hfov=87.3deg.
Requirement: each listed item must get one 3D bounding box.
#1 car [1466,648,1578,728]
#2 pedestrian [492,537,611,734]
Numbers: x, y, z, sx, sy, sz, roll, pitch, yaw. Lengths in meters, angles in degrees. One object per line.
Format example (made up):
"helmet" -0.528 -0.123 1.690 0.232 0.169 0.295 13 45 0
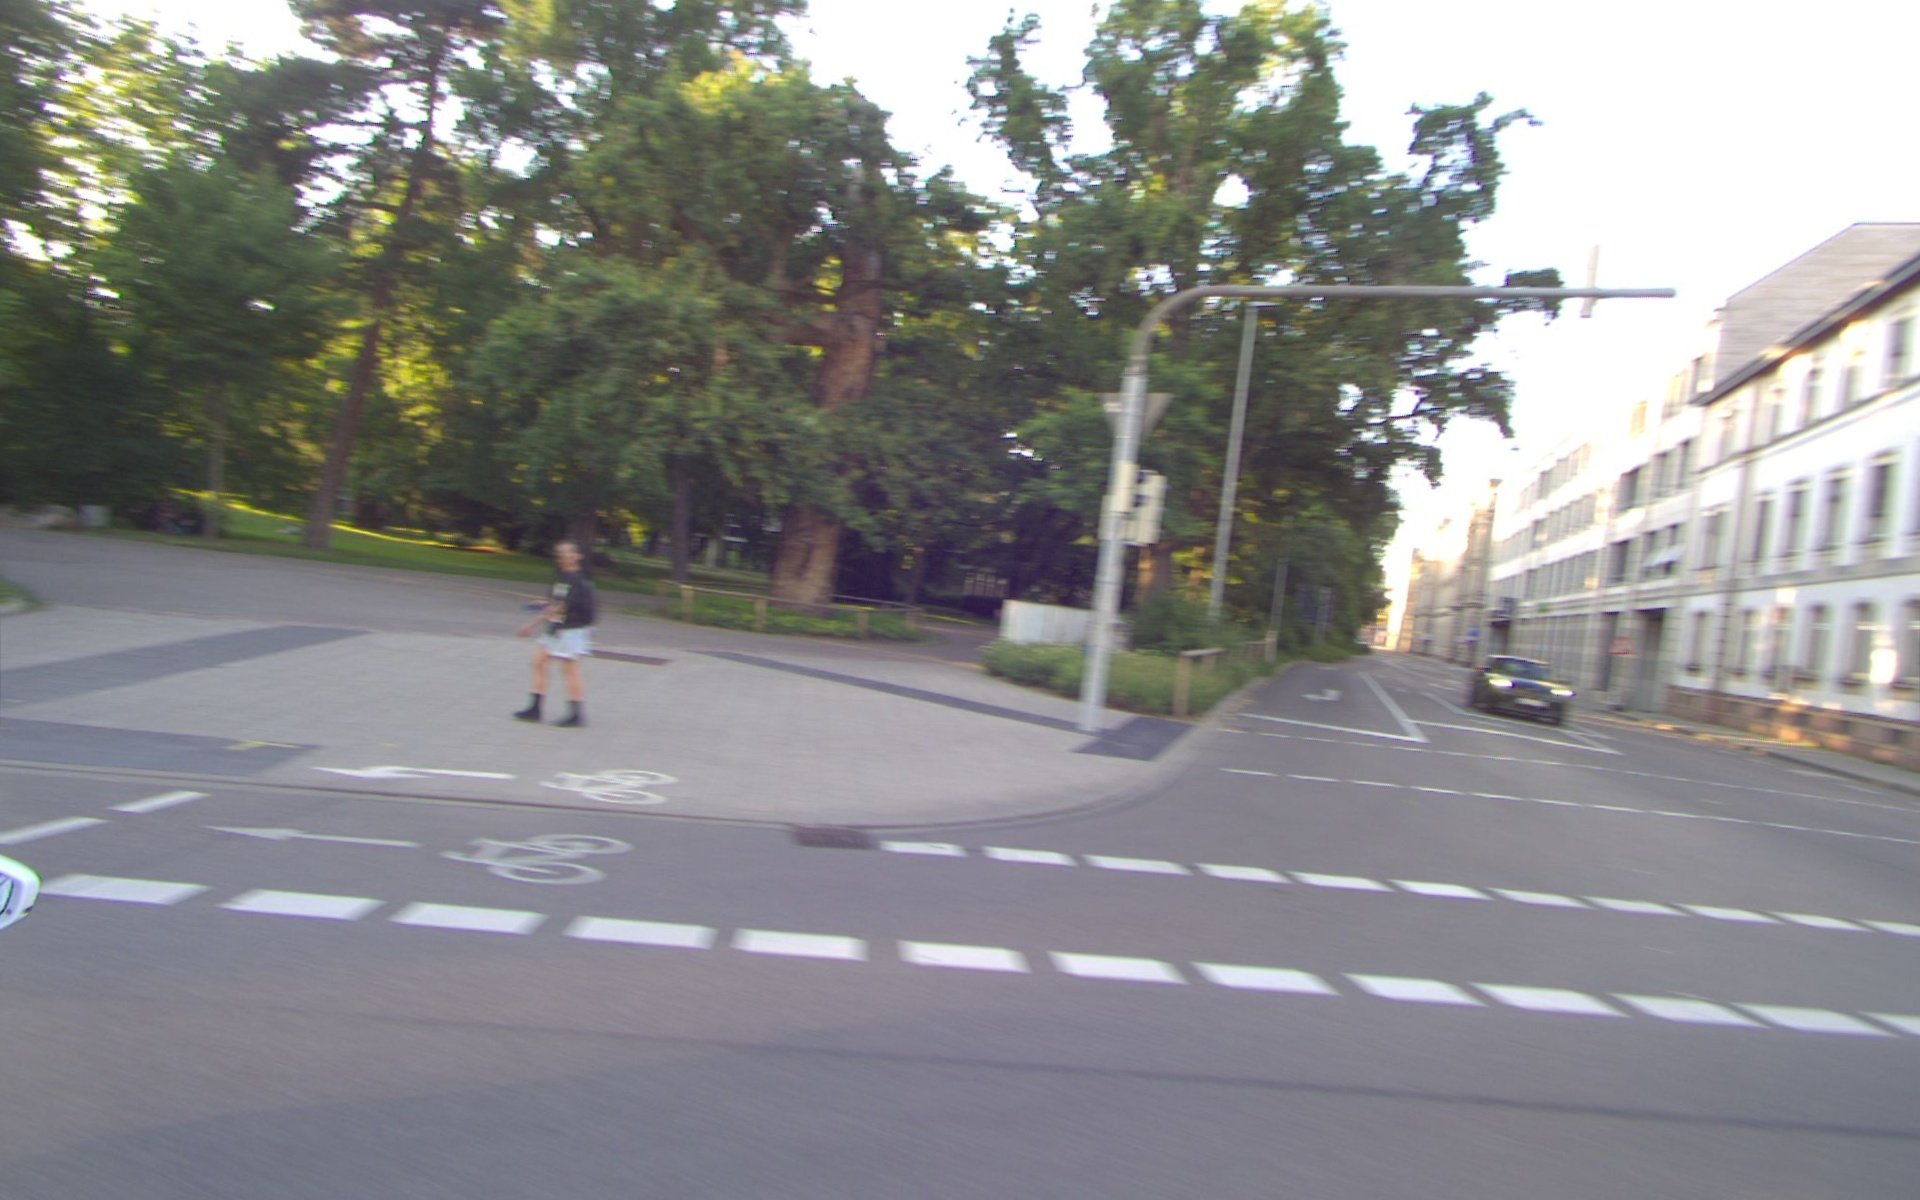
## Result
"car" 13.673 2.089 24.681 1.796 1.536 3.573 8 1 22
"pedestrian" -3.385 0.280 8.380 0.607 1.524 0.580 7 3 0
